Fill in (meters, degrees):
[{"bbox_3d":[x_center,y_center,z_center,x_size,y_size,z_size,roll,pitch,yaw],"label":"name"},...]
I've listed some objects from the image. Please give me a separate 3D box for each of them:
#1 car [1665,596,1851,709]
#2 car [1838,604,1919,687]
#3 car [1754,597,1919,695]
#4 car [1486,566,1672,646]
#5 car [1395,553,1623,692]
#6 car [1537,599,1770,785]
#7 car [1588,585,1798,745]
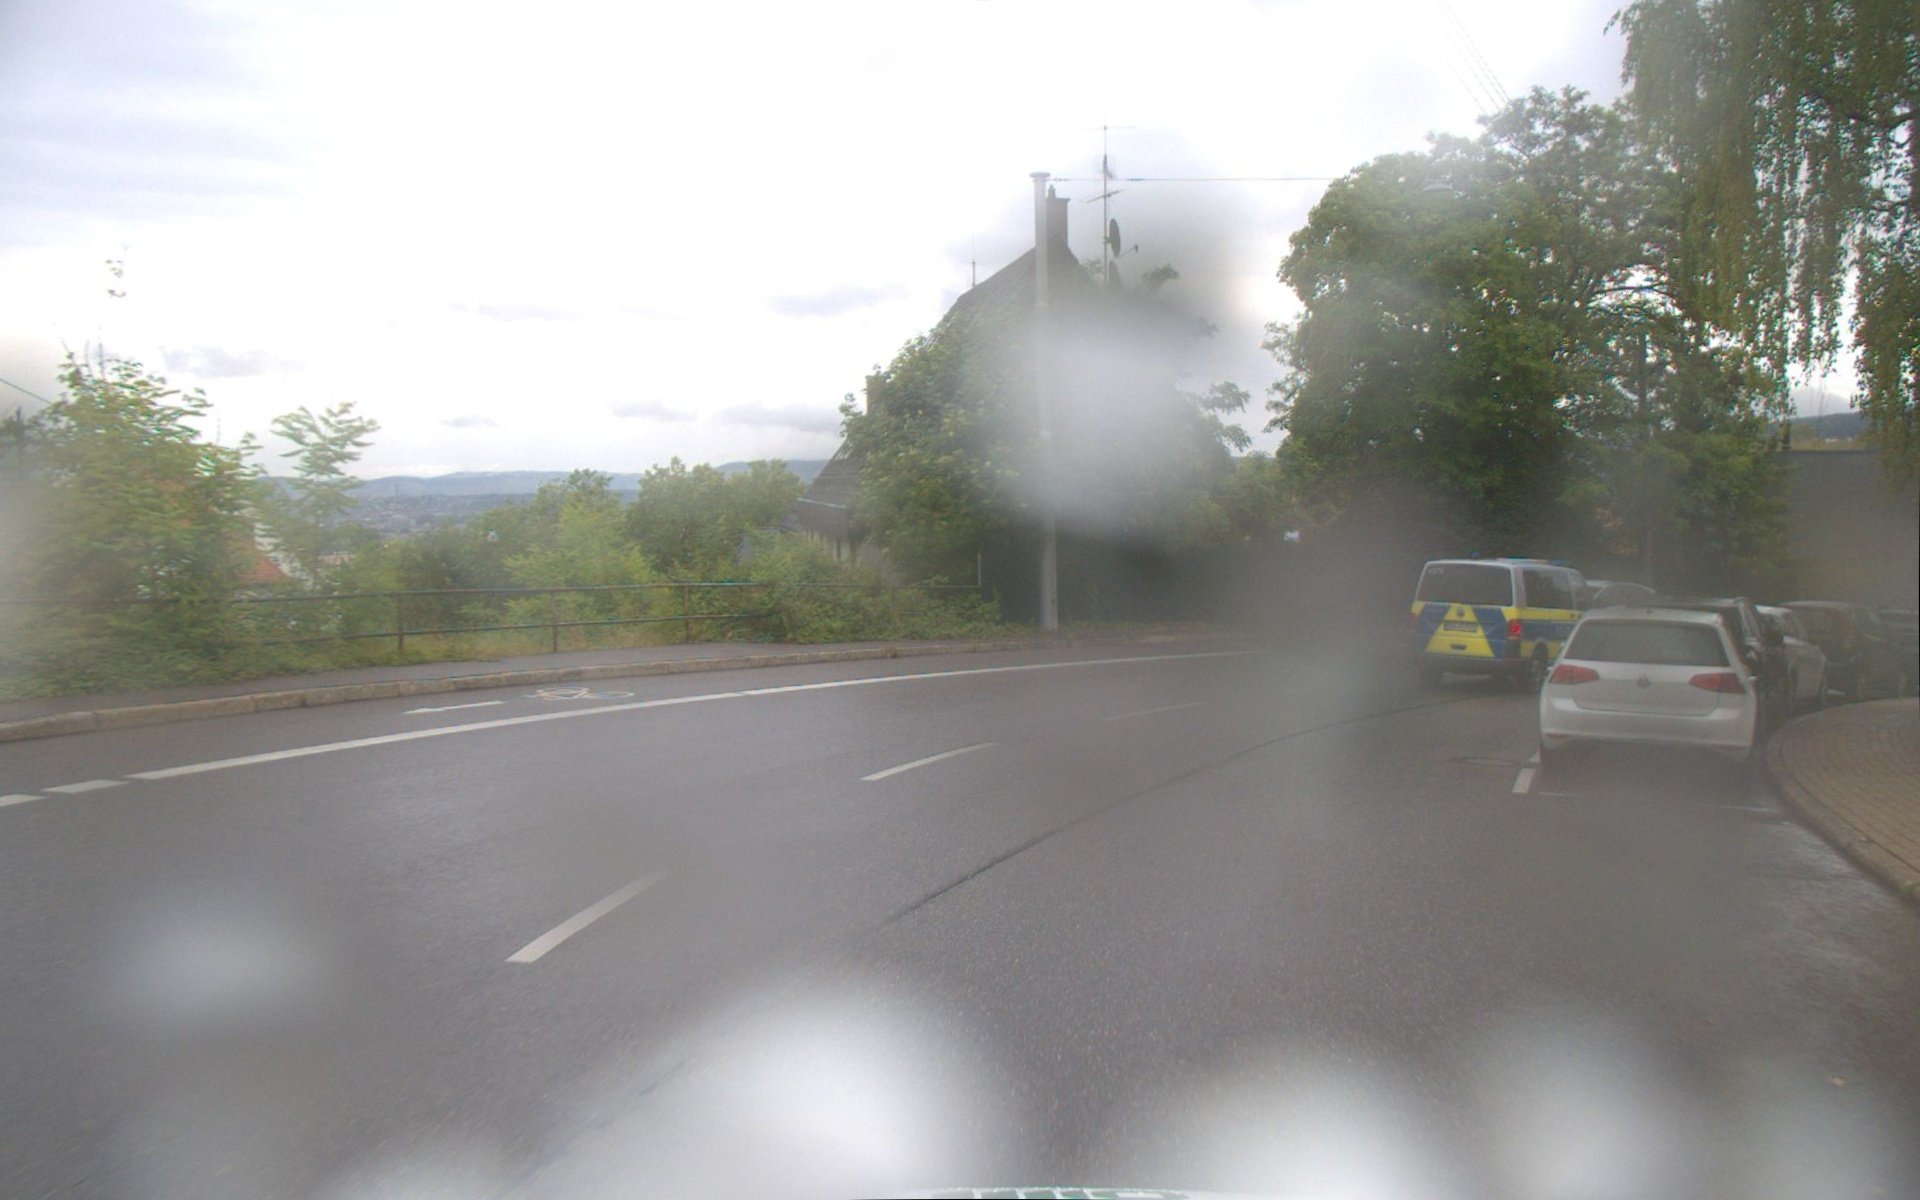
[{"bbox_3d":[11.662,0.704,24.036,1.698,1.490,4.014,0,0,37],"label":"car"},{"bbox_3d":[18.156,0.817,30.980,4.031,1.460,1.696,0,0,-41],"label":"car"},{"bbox_3d":[14.806,0.733,27.807,1.598,1.531,3.580,0,0,44],"label":"car"},{"bbox_3d":[13.614,0.106,36.299,4.238,1.635,1.809,-1,1,-36],"label":"car"},{"bbox_3d":[8.881,0.344,26.525,1.963,1.926,4.548,5,2,38],"label":"car"},{"bbox_3d":[6.502,0.740,15.412,1.754,1.471,4.103,0,0,24],"label":"car"},{"bbox_3d":[8.395,0.626,18.749,1.595,1.545,4.316,0,1,32],"label":"car"}]
